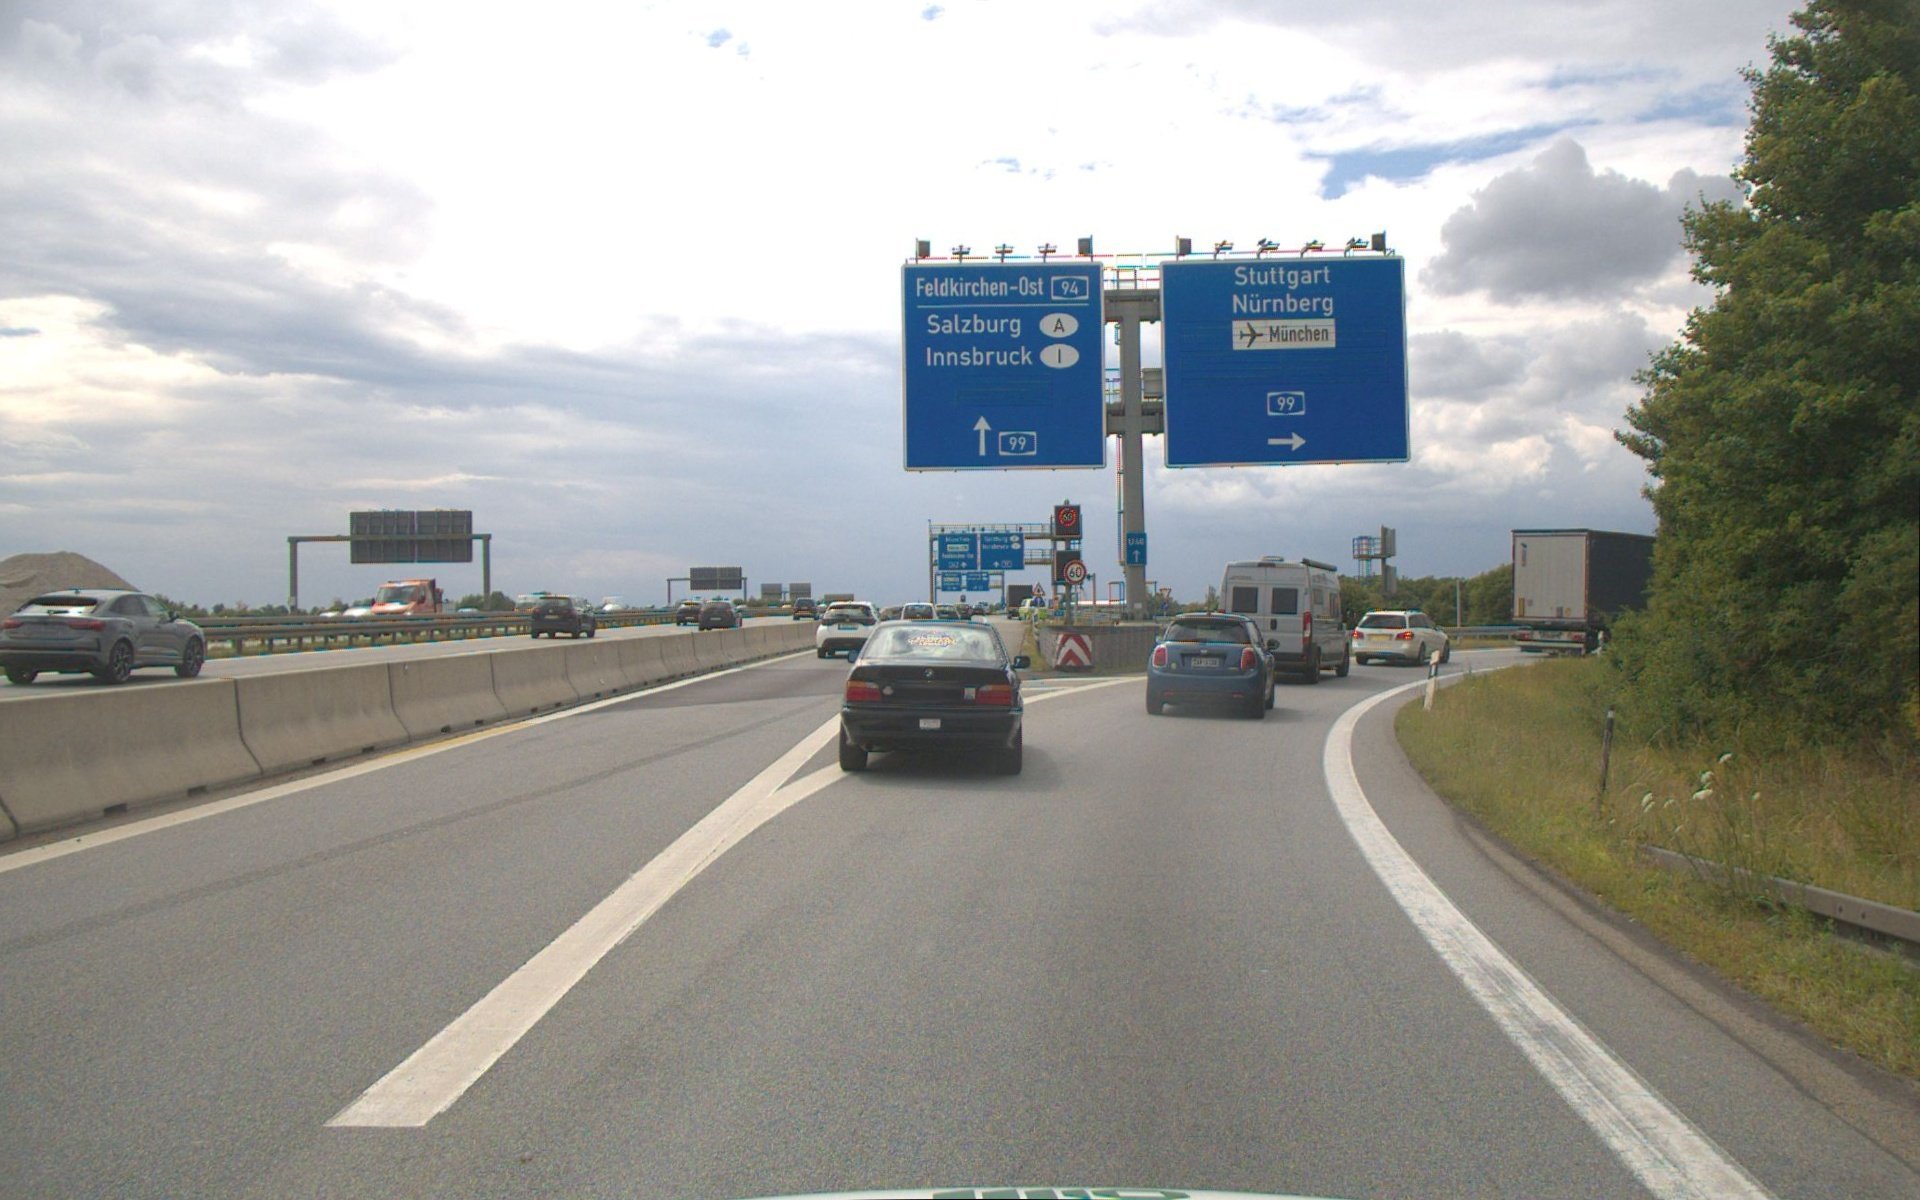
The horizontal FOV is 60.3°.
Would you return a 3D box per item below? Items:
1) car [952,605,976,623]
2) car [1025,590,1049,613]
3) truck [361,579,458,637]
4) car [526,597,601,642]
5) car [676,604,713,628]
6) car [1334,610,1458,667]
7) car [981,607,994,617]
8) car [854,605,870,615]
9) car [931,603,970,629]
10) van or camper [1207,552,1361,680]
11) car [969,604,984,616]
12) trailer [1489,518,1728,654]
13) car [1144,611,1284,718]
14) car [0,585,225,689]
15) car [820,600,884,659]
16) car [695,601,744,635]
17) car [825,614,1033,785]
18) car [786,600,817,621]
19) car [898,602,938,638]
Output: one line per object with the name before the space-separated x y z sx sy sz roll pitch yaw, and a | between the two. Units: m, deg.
car | 0.334 1.116 135.273 1.827 1.449 4.000 0 0 1
car | 6.928 0.107 148.928 1.953 2.049 3.999 0 0 -1
truck | -24.002 0.340 72.421 2.230 2.411 6.199 0 0 -1
car | -15.282 0.720 63.993 1.862 1.667 4.233 1 0 0
car | -15.807 0.925 98.585 1.521 1.400 3.999 1 0 0
car | 12.422 1.038 46.914 2.165 1.527 4.777 0 -1 31
car | 3.823 1.643 229.972 1.765 1.449 4.001 0 0 2
car | -14.488 1.486 243.902 1.952 1.494 4.001 0 0 2
car | -0.540 0.896 95.793 1.952 1.494 4.002 0 0 4
van or camper | 7.392 0.330 37.156 2.247 2.613 6.159 0 0 22
car | 2.126 1.267 209.983 1.765 1.449 4.001 0 0 2
trailer | 22.920 -0.402 57.777 3.283 4.266 12.947 0 0 43
car | 3.871 0.908 24.780 1.692 1.444 3.668 1 -1 15
car | -14.851 0.592 28.996 1.862 1.669 4.644 0 0 0
car | -2.976 0.784 45.345 1.668 1.534 3.836 0 0 -5
car | -11.408 0.825 78.581 1.737 1.557 4.000 0 0 0
car | -0.222 0.849 15.905 1.745 1.402 4.137 0 0 1
car | -12.751 0.844 132.998 1.952 1.713 4.866 0 0 1
car | -1.777 0.858 70.916 1.552 1.510 3.535 0 0 1
